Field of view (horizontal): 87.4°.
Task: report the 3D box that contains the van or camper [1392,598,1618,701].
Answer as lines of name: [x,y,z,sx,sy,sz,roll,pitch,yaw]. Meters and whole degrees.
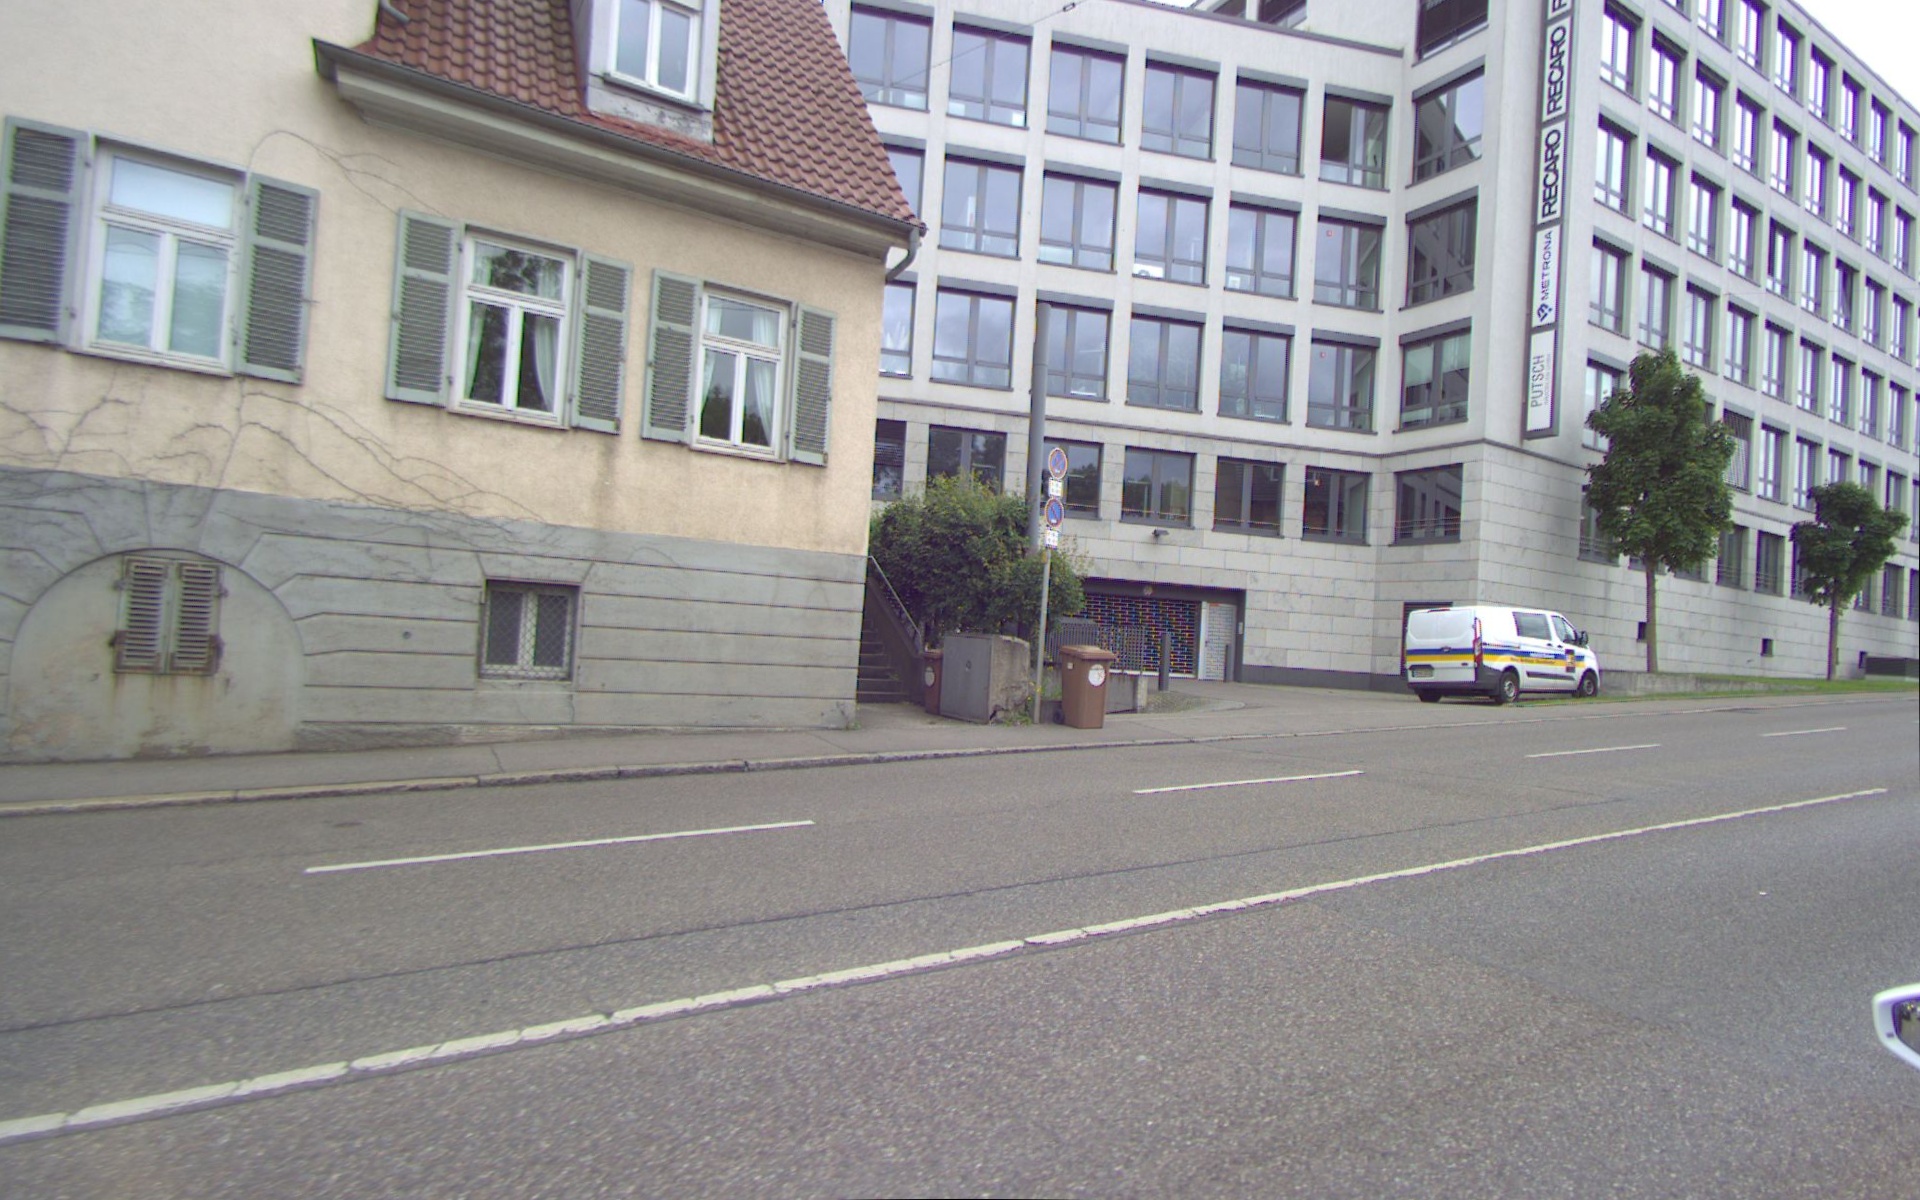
van or camper: [11.803,1.078,21.688,4.814,1.993,2.051,2,-3,-29]

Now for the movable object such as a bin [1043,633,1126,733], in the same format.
movable object such as a bin: [1.659,1.082,13.430,0.692,1.205,0.804,1,4,-36]

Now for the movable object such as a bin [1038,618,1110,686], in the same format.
movable object such as a bin: [2.744,1.247,24.289,1.275,1.517,1.077,2,3,-34]
